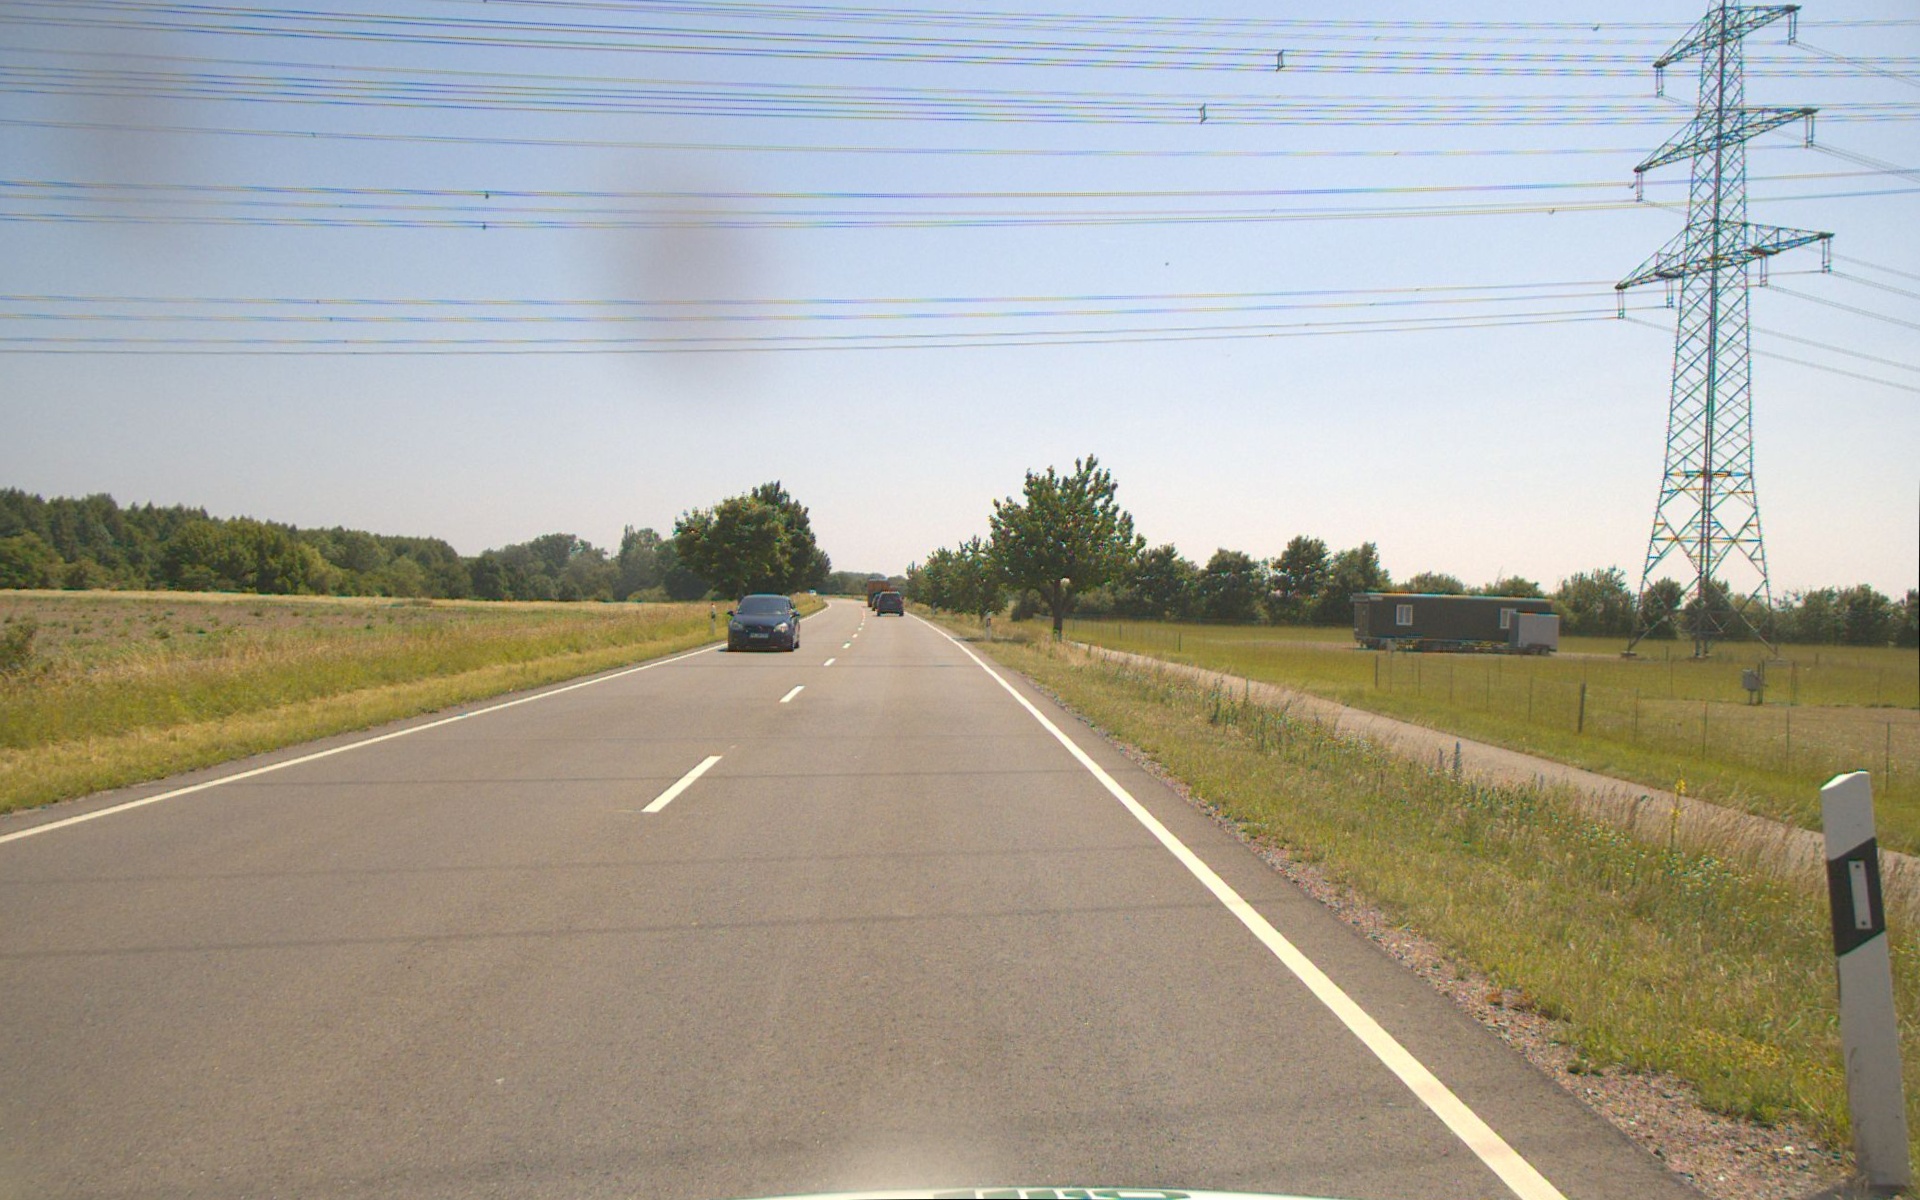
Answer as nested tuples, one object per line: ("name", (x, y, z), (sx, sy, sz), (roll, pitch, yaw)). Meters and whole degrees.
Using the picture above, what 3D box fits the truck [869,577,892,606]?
("truck", (-9.094, -0.914, 188.055), (2.324, 3.195, 8.740), (1, 0, -4))

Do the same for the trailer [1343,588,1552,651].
("trailer", (30.962, 1.192, 105.357), (12.167, 3.533, 3.802), (2, 0, -4))

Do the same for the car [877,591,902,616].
("car", (-4.986, 0.237, 116.653), (1.680, 1.723, 3.986), (1, 0, -3))

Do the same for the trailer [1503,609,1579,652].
("trailer", (36.045, 1.867, 102.657), (3.910, 2.485, 1.997), (2, 0, -6))

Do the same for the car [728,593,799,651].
("car", (-5.289, 0.581, 44.923), (1.700, 1.472, 3.996), (1, 0, -4))
